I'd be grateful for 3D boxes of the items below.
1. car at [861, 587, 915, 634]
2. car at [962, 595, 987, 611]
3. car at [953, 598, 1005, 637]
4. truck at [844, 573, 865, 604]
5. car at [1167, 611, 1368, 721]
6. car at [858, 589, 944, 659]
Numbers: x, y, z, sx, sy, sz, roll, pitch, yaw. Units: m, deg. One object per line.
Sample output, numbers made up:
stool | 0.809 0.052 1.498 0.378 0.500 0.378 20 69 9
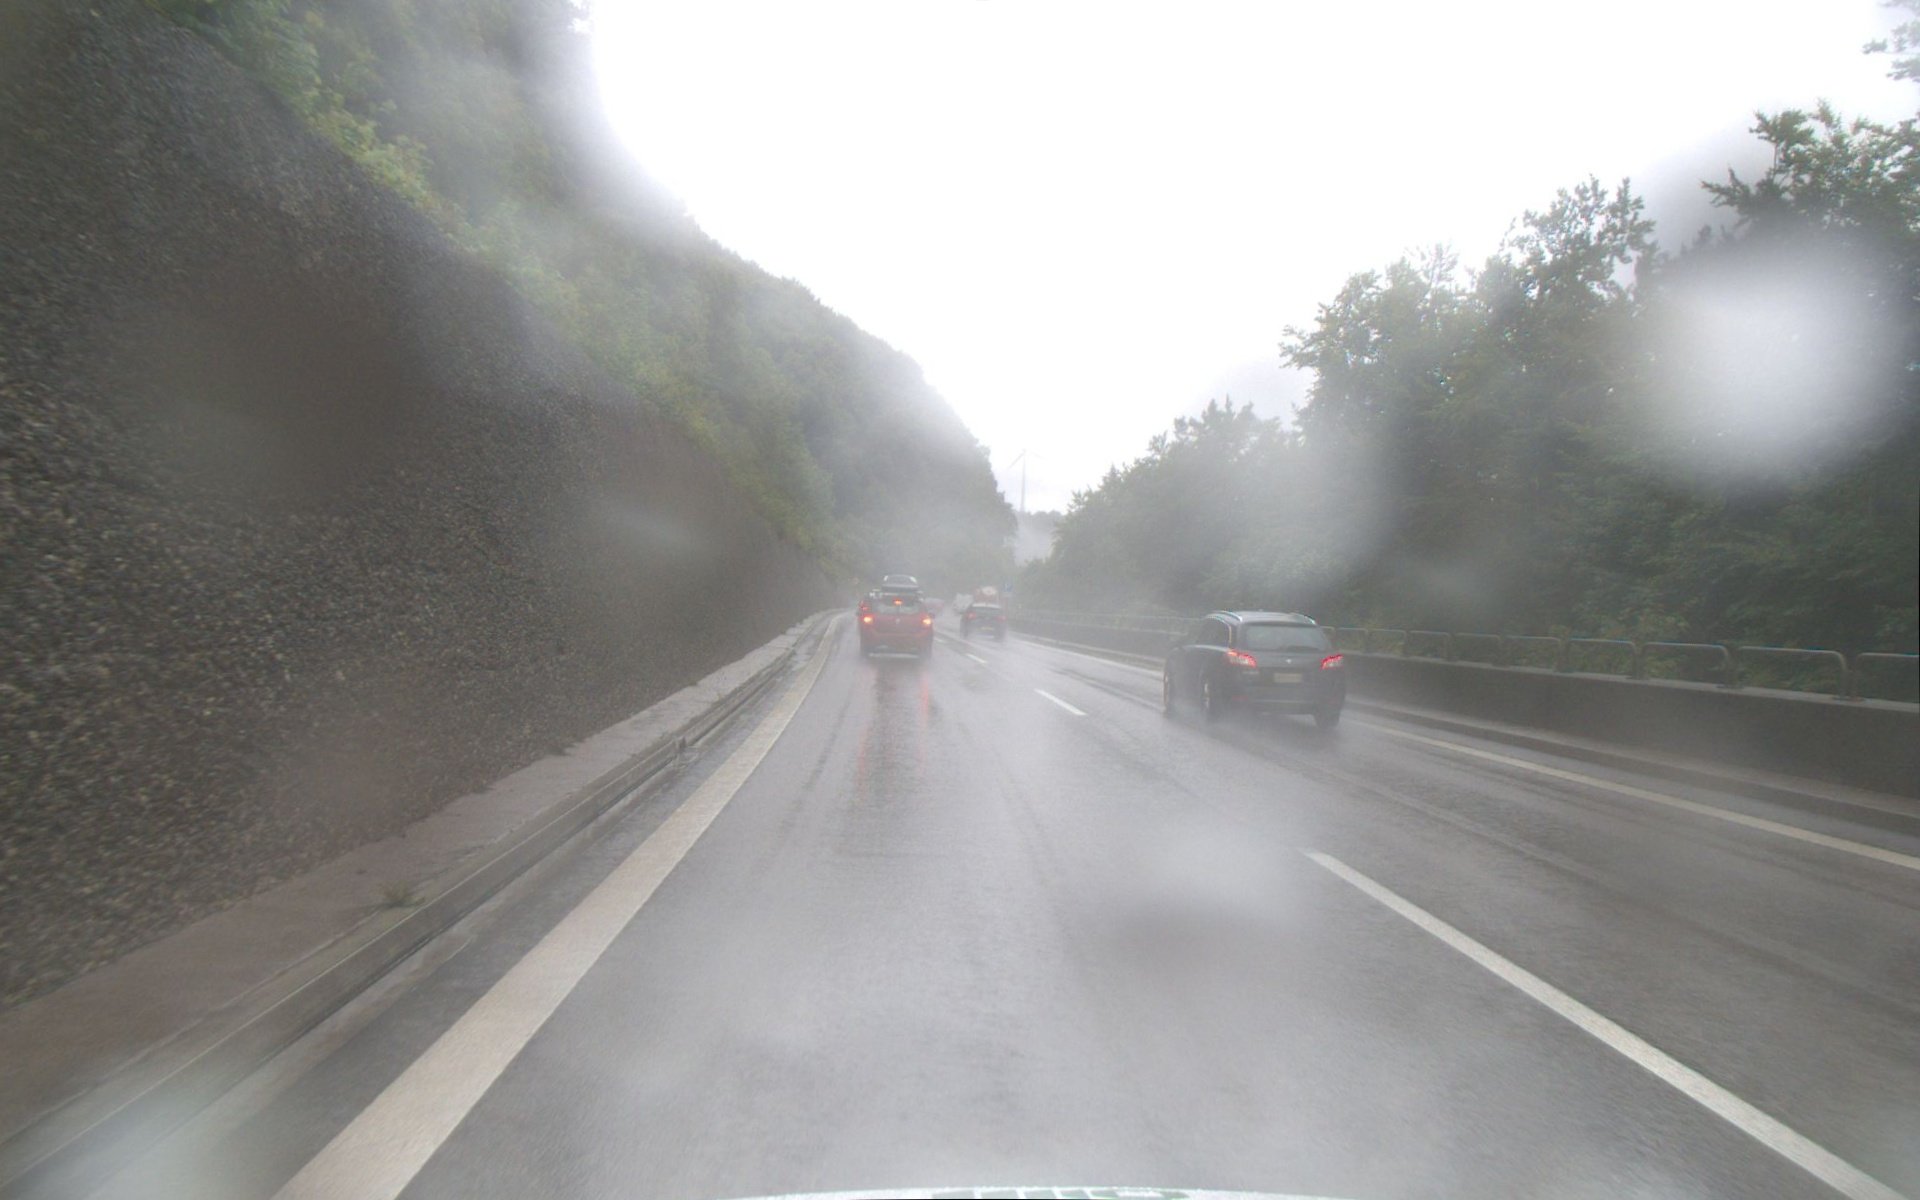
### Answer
car | -2.705 0.432 63.045 1.953 1.713 3.998 1 -1 -1
car | 1.897 0.431 215.143 2.404 2.049 4.725 0 0 -10
car | 0.785 0.710 69.571 1.953 1.579 3.998 1 0 -3
truck | -9.929 -1.053 155.611 1.954 2.799 5.582 0 0 -4
car | 4.043 0.826 22.401 1.765 1.330 3.997 0 0 -4
car | -1.431 0.577 39.708 1.953 1.579 3.998 0 -1 -3
